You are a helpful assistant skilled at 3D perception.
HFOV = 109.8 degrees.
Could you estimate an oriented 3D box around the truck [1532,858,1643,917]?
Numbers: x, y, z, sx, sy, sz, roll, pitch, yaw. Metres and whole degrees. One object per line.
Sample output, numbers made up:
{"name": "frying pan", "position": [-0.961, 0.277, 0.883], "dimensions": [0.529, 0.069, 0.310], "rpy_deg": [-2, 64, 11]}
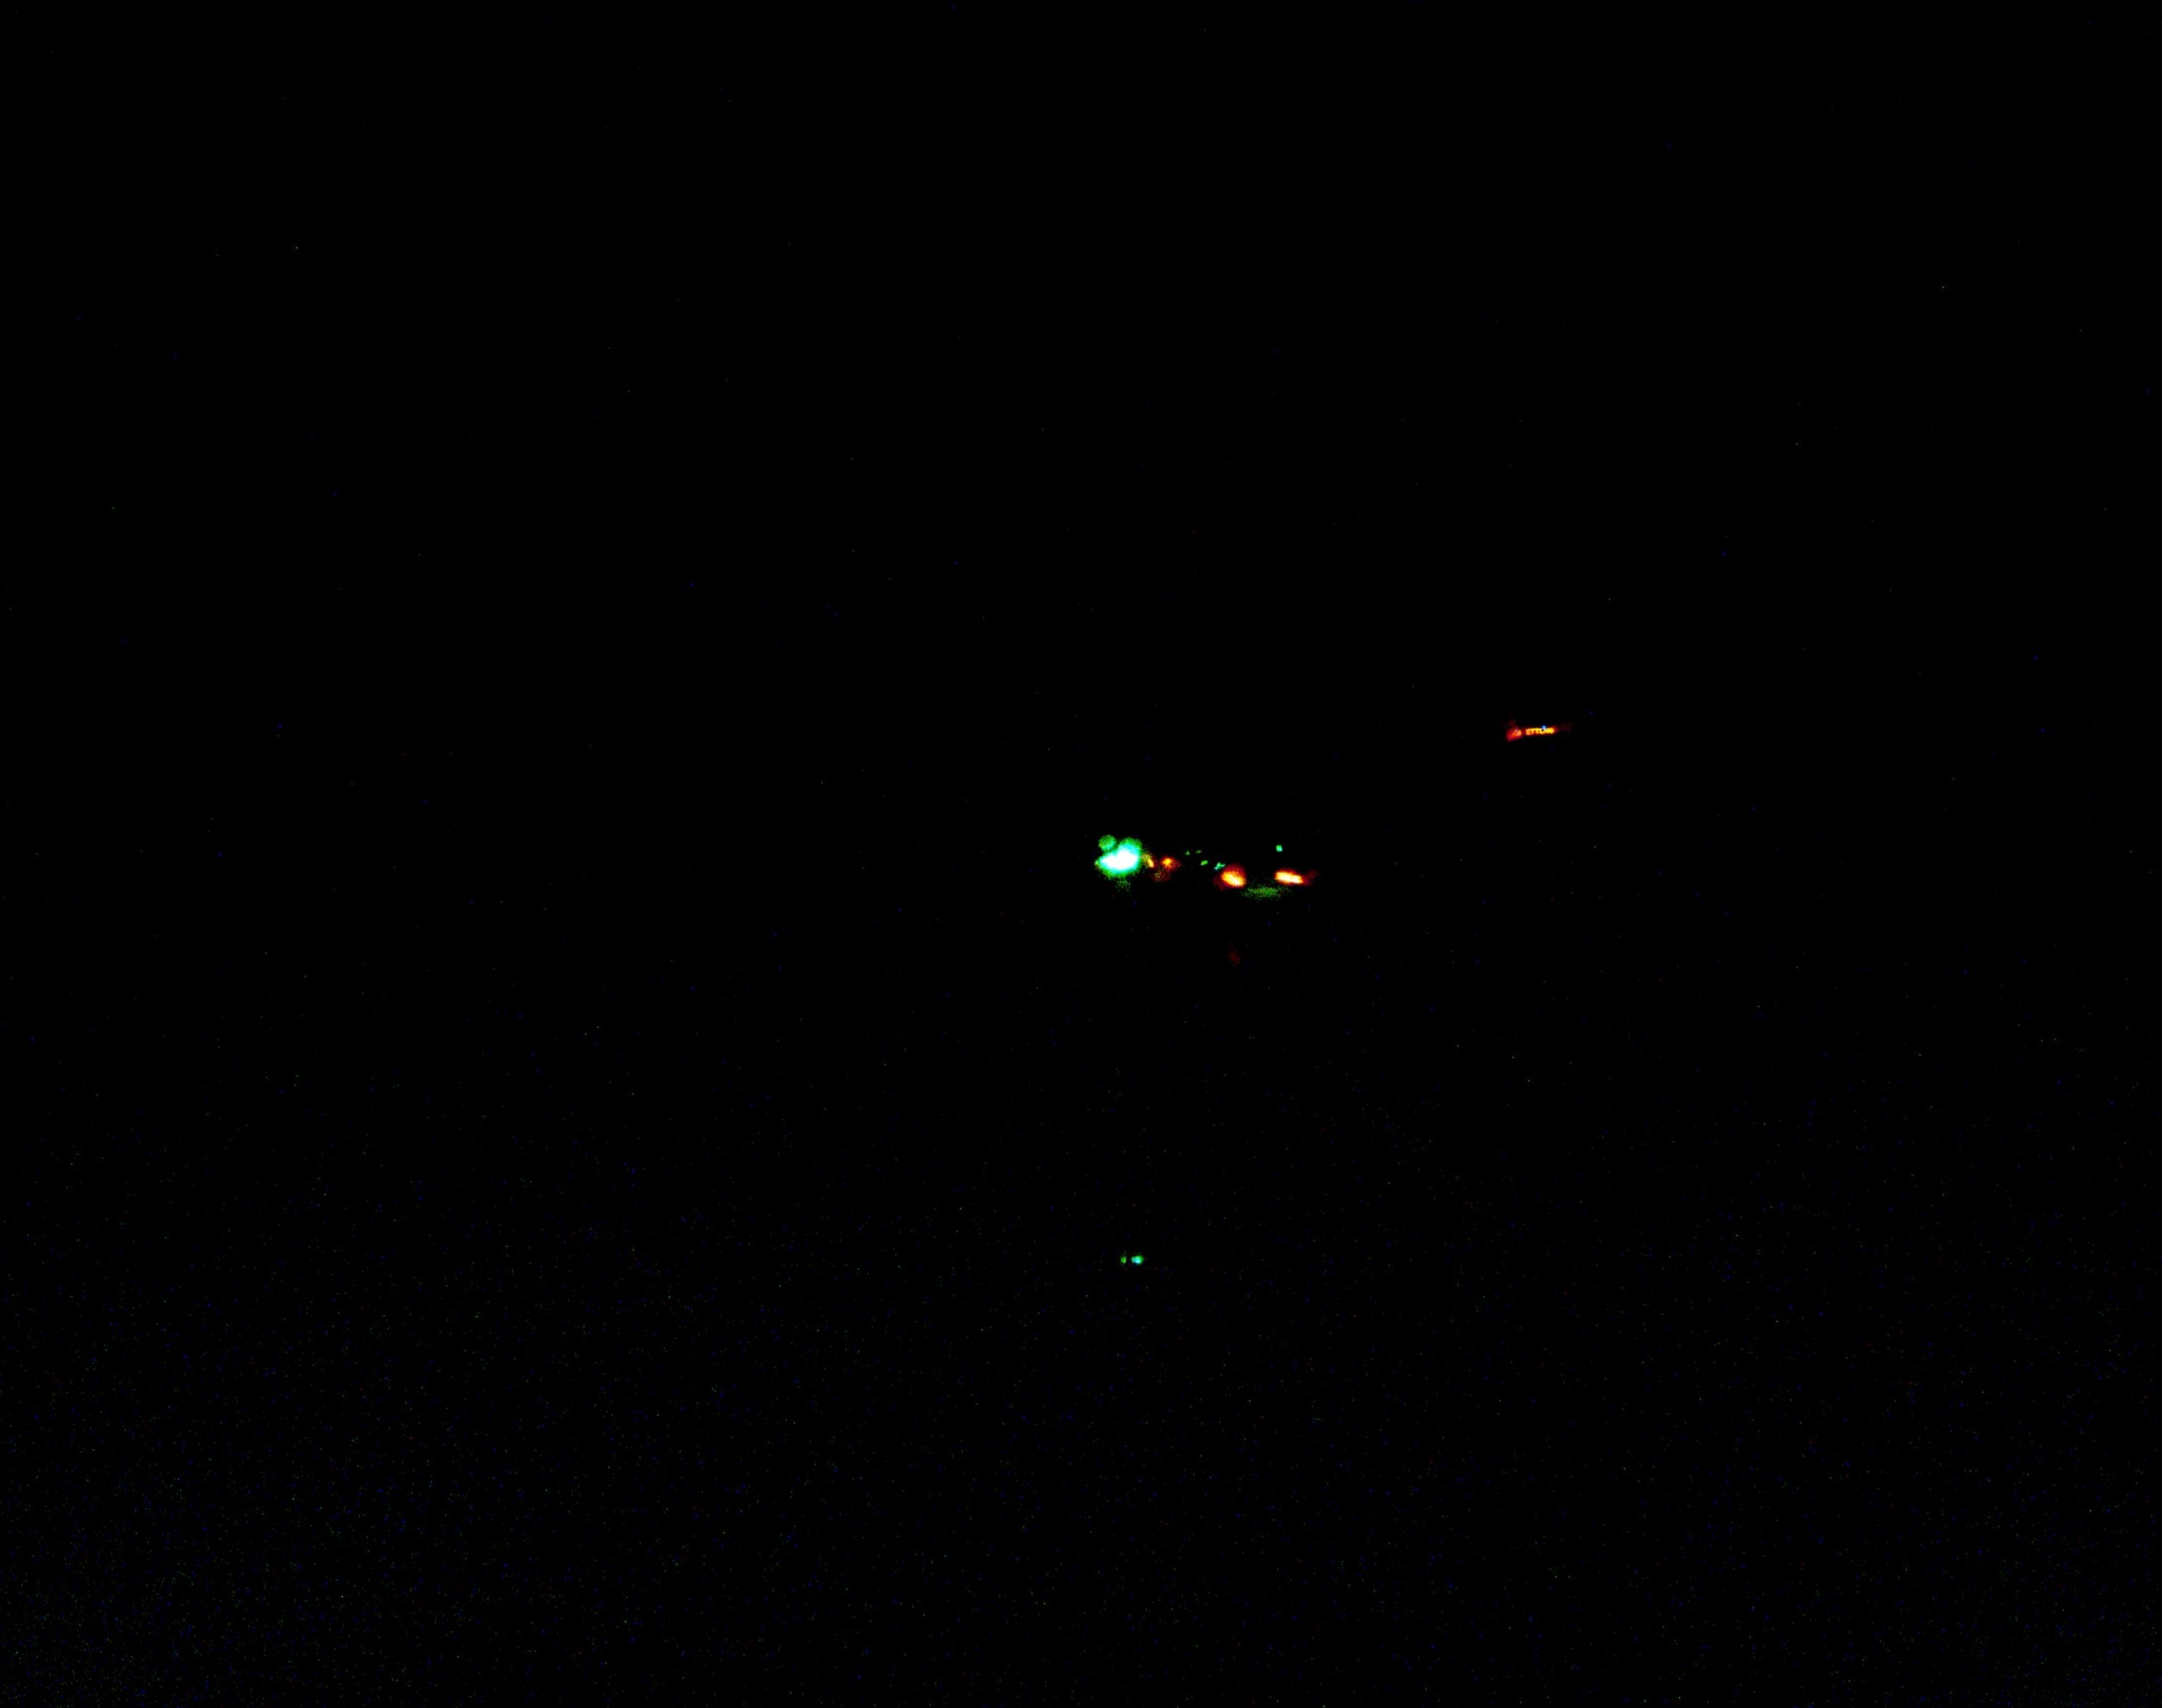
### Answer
{"name": "truck", "position": [33.193, 2.044, 50.246], "dimensions": [2.761, 3.462, 8.109], "rpy_deg": [-2, 0, 7]}

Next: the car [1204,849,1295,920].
{"name": "car", "position": [3.979, 0.660, 18.467], "dimensions": [1.640, 1.511, 3.771], "rpy_deg": [0, 1, 4]}

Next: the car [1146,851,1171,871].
{"name": "car", "position": [6.026, 0.519, 59.505], "dimensions": [1.716, 1.409, 4.065], "rpy_deg": [-2, 1, 2]}

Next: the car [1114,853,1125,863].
{"name": "car", "position": [6.651, 0.605, 130.071], "dimensions": [1.823, 1.565, 4.107], "rpy_deg": [-2, 1, 4]}

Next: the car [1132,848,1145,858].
{"name": "car", "position": [9.183, -0.170, 121.495], "dimensions": [1.831, 1.608, 3.729], "rpy_deg": [-2, 1, 3]}

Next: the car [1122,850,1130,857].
{"name": "car", "position": [10.575, -0.154, 177.993], "dimensions": [1.782, 1.565, 4.001], "rpy_deg": [-2, 1, 5]}

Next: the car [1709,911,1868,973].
{"name": "car", "position": [25.500, 3.128, 27.628], "dimensions": [1.812, 1.666, 4.292], "rpy_deg": [-2, 1, 1]}
